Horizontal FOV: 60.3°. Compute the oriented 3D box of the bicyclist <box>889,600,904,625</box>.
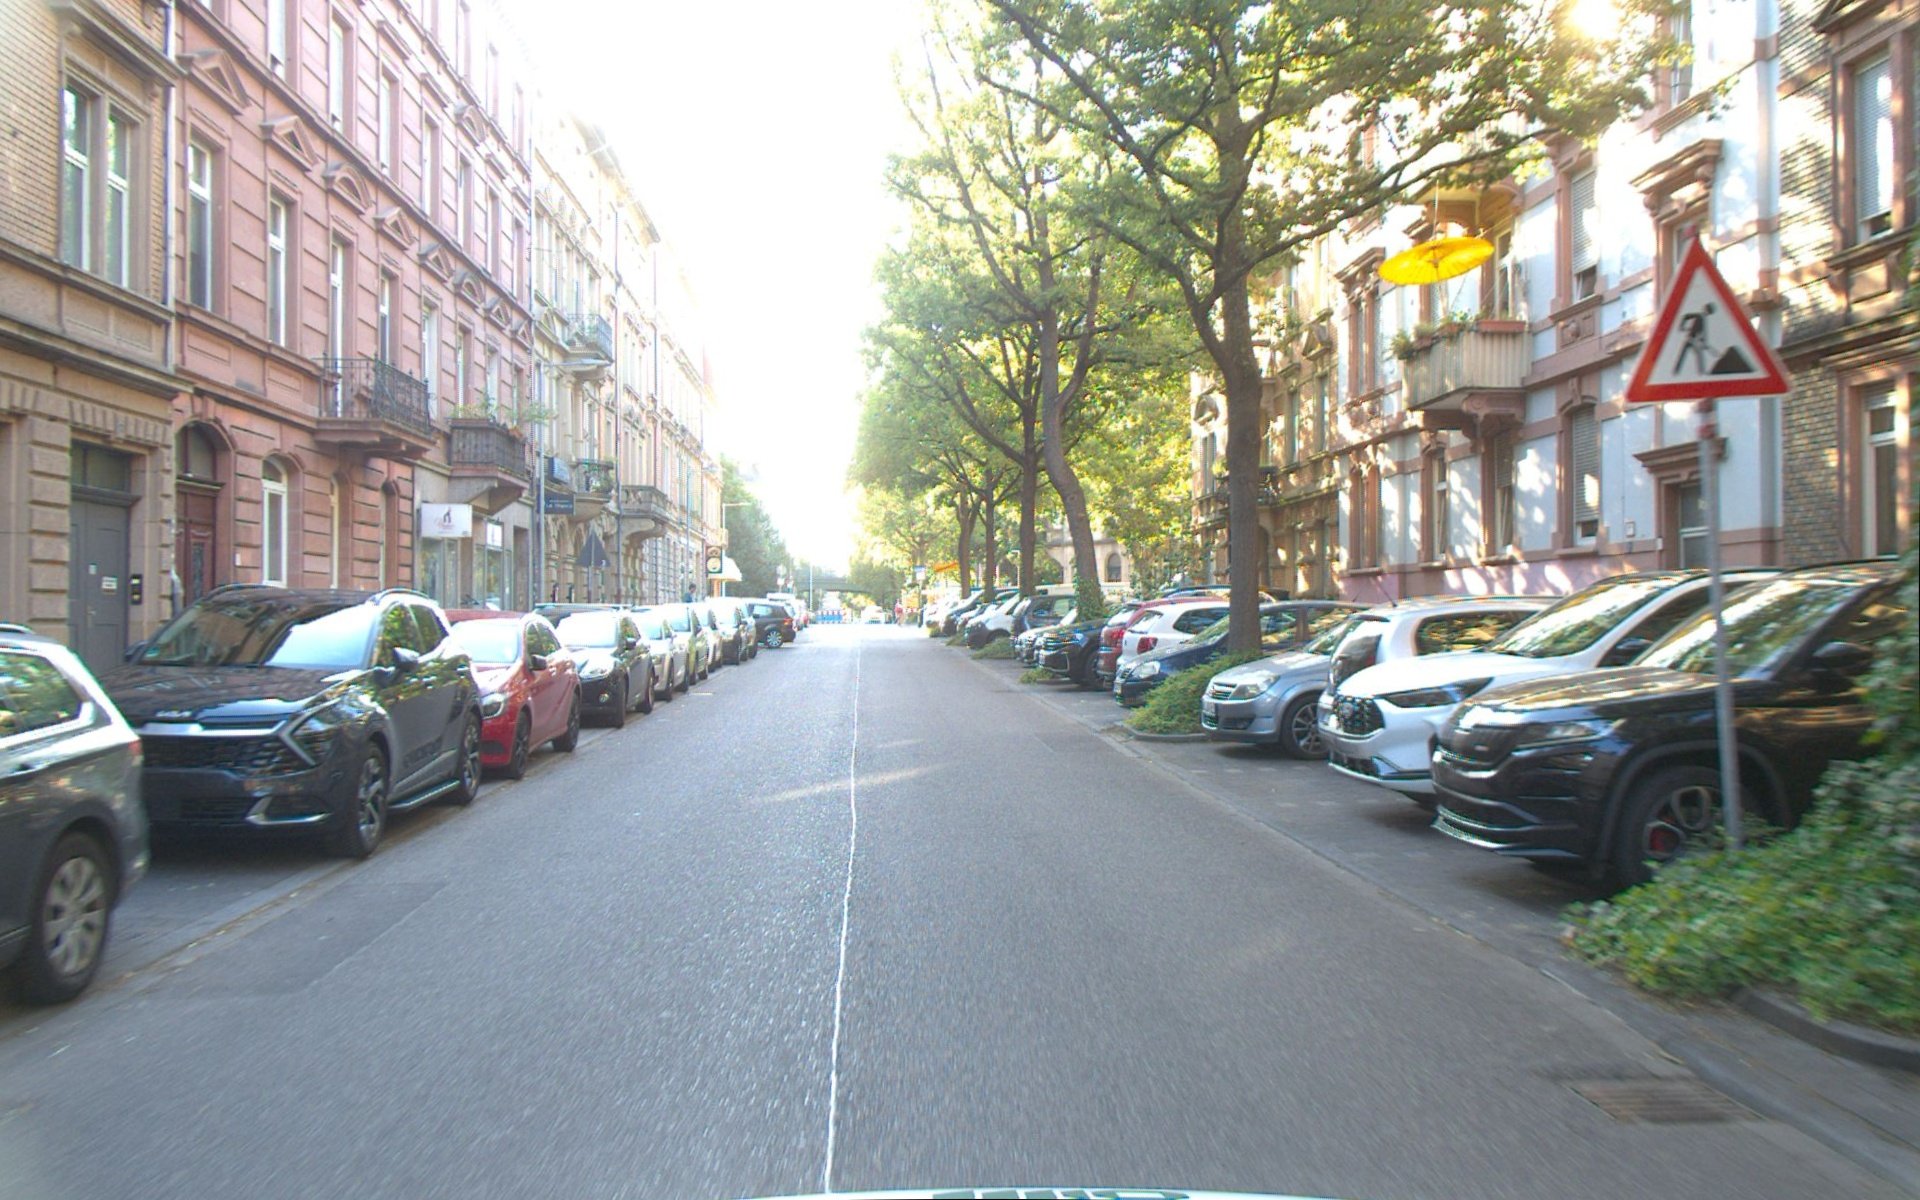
[{"bbox_3d":[-3.520,0.694,91.747,0.787,1.407,0.984,1,-1,-4],"label":"bicyclist"}]

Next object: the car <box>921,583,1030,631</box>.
[{"bbox_3d":[0.682,0.324,76.389,4.875,2.132,2.104,0,0,-4],"label":"car"}]

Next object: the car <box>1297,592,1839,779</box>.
[{"bbox_3d":[5.110,0.680,14.261,4.018,1.495,1.800,0,0,-3],"label":"car"}]

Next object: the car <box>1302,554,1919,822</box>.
[{"bbox_3d":[4.811,0.576,11.553,4.388,1.685,1.889,0,-1,-5],"label":"car"}]

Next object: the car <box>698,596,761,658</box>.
[{"bbox_3d":[-6.559,0.735,47.172,1.616,1.601,4.042,3,0,-8],"label":"car"}]

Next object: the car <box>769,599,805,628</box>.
[{"bbox_3d":[-9.182,0.708,87.974,1.691,1.462,3.993,2,0,-3],"label":"car"}]

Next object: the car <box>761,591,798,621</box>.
[{"bbox_3d":[-9.024,0.285,82.760,1.730,1.462,4.296,0,0,-5],"label":"car"}]

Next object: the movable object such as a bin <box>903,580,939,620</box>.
[{"bbox_3d":[-2.751,0.030,116.411,1.951,2.747,3.113,0,-1,10],"label":"movable object such as a bin"}]

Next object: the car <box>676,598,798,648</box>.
[{"bbox_3d":[-7.363,0.752,54.500,3.914,1.556,1.822,-1,0,-10],"label":"car"}]

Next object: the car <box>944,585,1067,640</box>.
[{"bbox_3d":[1.721,0.459,63.562,4.526,2.049,1.997,0,0,-6],"label":"car"}]

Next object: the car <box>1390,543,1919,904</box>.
[{"bbox_3d":[4.730,0.596,8.769,4.385,1.685,1.890,0,-1,-2],"label":"car"}]

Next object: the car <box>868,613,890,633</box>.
[{"bbox_3d":[-6.340,1.769,129.038,1.714,1.535,3.997,0,0,-4],"label":"car"}]

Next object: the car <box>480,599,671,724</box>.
[{"bbox_3d":[-5.120,0.760,22.586,1.785,1.503,4.420,1,0,-4],"label":"car"}]

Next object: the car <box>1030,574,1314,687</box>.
[{"bbox_3d":[3.645,0.500,28.846,4.557,1.732,1.879,-2,0,-7],"label":"car"}]

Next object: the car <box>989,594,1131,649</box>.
[{"bbox_3d":[2.985,0.626,49.647,3.916,1.500,1.777,-2,0,-11],"label":"car"}]

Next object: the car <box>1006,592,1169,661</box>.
[{"bbox_3d":[3.183,0.646,41.555,3.812,1.678,1.721,0,0,-9],"label":"car"}]

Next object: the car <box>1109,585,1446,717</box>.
[{"bbox_3d":[4.010,0.621,21.247,3.909,1.412,1.676,-3,0,-4],"label":"car"}]

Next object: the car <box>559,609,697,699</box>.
[{"bbox_3d":[-5.419,0.837,27.449,1.671,1.346,4.098,0,0,-3],"label":"car"}]

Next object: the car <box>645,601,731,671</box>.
[{"bbox_3d":[-6.211,0.789,38.114,1.550,1.499,3.997,0,0,-4],"label":"car"}]

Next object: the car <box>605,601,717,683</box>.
[{"bbox_3d":[-5.736,0.766,32.114,1.671,1.464,3.956,0,0,-3],"label":"car"}]

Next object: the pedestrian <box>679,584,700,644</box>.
[{"bbox_3d":[-8.679,0.442,52.997,0.627,1.921,0.590,0,0,-13],"label":"pedestrian"}]

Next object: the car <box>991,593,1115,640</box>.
[{"bbox_3d":[3.126,0.544,55.864,4.000,1.524,1.842,-1,0,-3],"label":"car"}]

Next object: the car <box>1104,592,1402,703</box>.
[{"bbox_3d":[4.187,0.652,23.974,3.911,1.488,1.780,-1,0,-7],"label":"car"}]

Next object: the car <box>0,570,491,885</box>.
[{"bbox_3d":[-4.476,0.669,10.825,1.785,1.628,4.310,1,0,-4],"label":"car"}]

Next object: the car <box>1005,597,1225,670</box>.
[{"bbox_3d":[3.384,0.714,36.600,4.570,1.529,1.929,0,0,-7],"label":"car"}]

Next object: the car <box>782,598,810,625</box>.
[{"bbox_3d":[-9.731,0.675,98.286,1.637,1.557,3.995,0,0,-6],"label":"car"}]

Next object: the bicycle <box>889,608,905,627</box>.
[{"bbox_3d":[-3.491,0.971,91.797,0.787,0.985,2.107,1,0,-4],"label":"bicycle"}]

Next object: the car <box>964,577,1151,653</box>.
[{"bbox_3d":[2.671,0.435,46.169,4.991,1.974,2.156,0,-4,-4],"label":"car"}]

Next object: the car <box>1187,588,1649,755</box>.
[{"bbox_3d":[4.522,0.663,16.663,4.141,1.563,1.798,0,0,-7],"label":"car"}]

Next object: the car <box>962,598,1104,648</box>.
[{"bbox_3d":[2.254,0.719,51.908,4.282,1.481,1.932,-1,0,-3],"label":"car"}]

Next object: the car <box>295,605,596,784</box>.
[{"bbox_3d":[-4.789,0.804,16.051,1.785,1.450,4.310,1,0,-4],"label":"car"}]

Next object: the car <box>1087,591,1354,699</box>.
[{"bbox_3d":[4.130,0.685,26.570,3.911,1.618,1.780,-1,0,-7],"label":"car"}]

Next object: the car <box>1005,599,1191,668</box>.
[{"bbox_3d":[3.196,0.757,38.690,4.028,1.529,1.808,0,0,-8],"label":"car"}]

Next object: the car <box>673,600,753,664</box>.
[{"bbox_3d":[-6.270,0.777,42.309,1.615,1.498,3.997,3,0,-4],"label":"car"}]

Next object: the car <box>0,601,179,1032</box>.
[{"bbox_3d":[-4.227,0.764,4.926,1.825,1.498,4.486,0,0,-3],"label":"car"}]

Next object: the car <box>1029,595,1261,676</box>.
[{"bbox_3d":[3.721,0.697,33.822,4.461,1.556,1.999,0,0,-2],"label":"car"}]
